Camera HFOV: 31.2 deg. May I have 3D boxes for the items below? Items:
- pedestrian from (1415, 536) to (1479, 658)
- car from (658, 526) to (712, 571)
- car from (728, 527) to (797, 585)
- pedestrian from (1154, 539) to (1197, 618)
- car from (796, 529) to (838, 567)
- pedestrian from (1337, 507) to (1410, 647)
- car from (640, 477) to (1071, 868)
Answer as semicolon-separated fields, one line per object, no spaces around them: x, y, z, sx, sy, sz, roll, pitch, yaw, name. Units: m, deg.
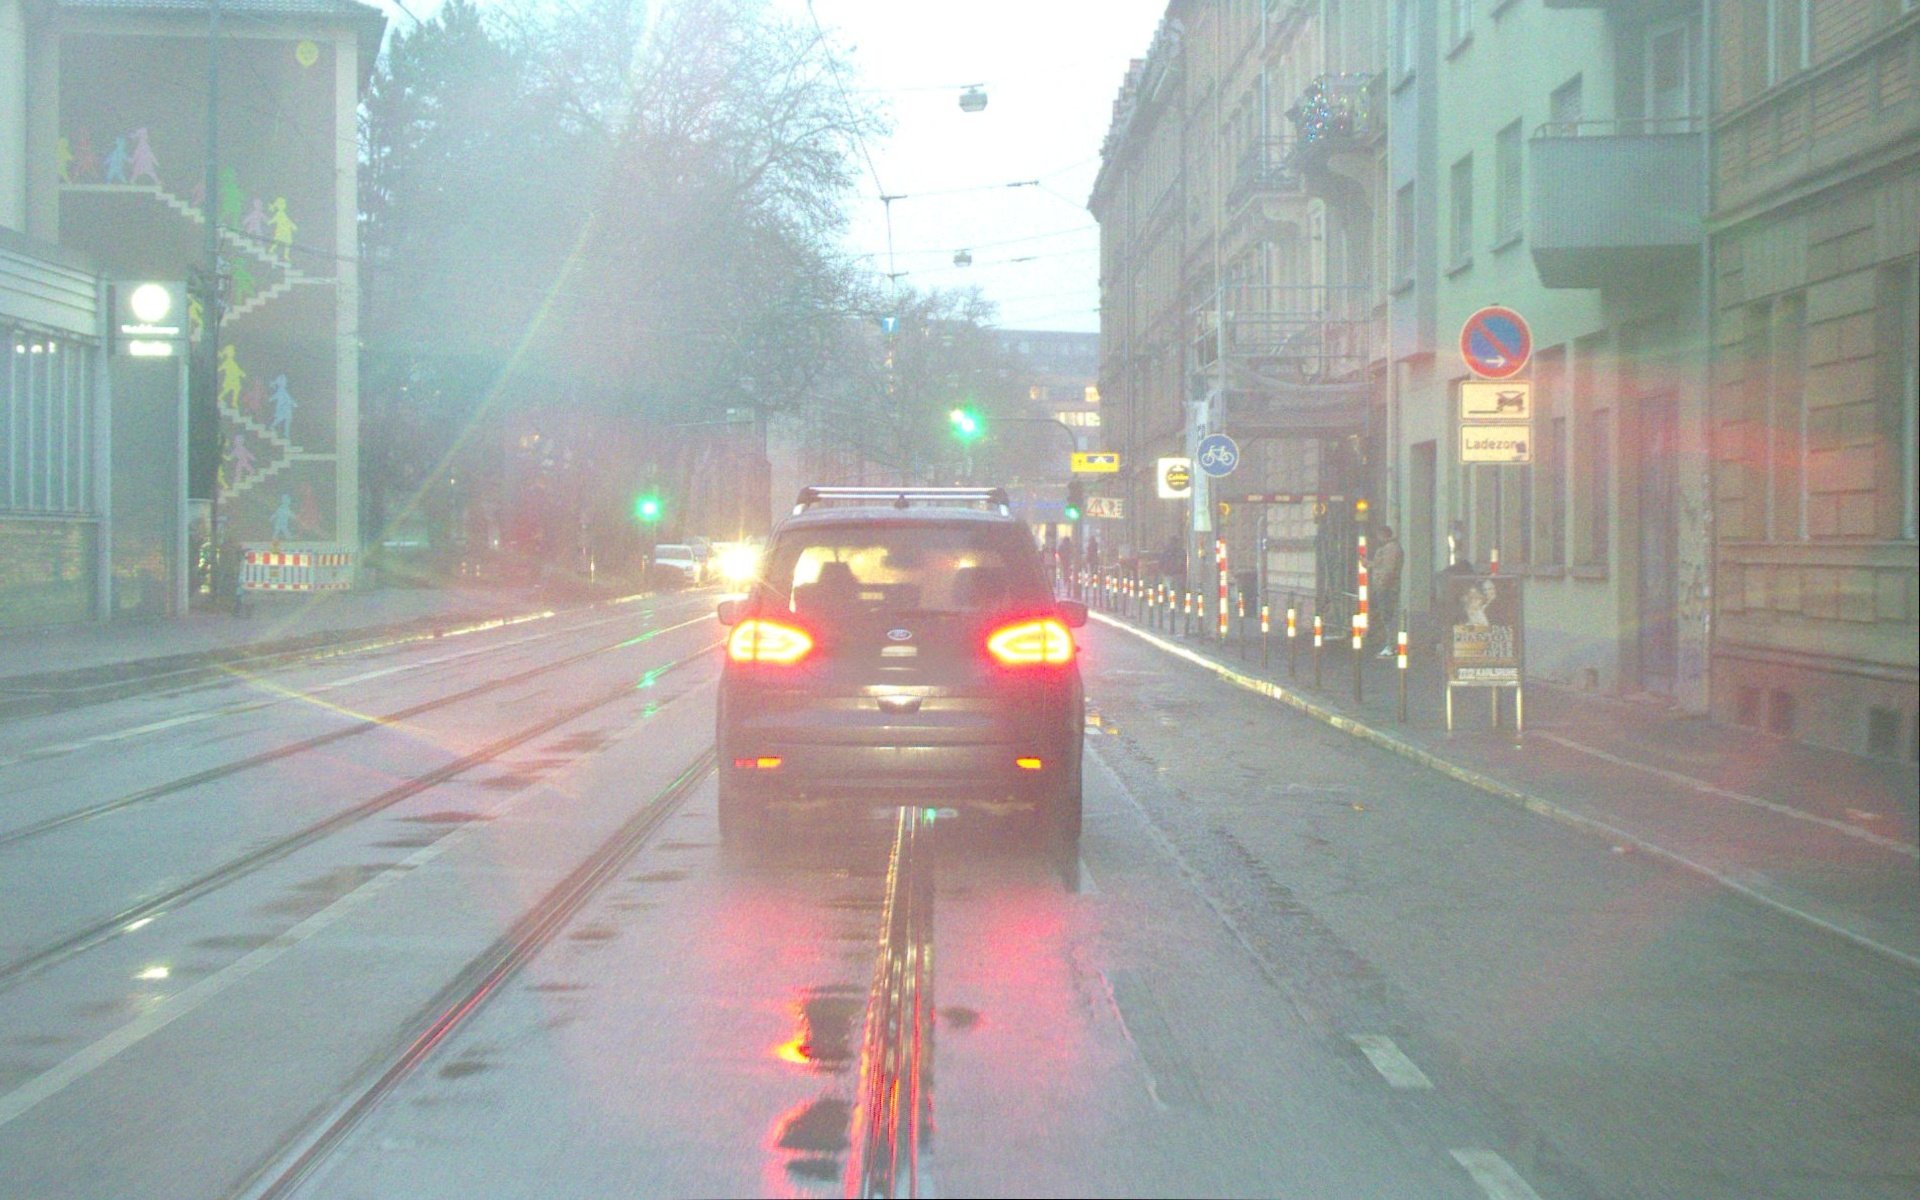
5.547;-0.037;39.197;0.600;1.372;0.728;1;0;-1;pedestrian
-10.267;-1.915;128.418;1.983;1.610;4.430;1;1;-4;car
-6.019;-1.366;105.209;1.875;1.704;4.761;-1;1;-1;car
4.680;-0.474;74.549;0.835;1.695;0.953;1;0;8;pedestrian
-5.639;-2.074;136.077;1.530;1.476;3.561;0;1;0;car
5.386;-0.302;44.803;0.598;1.812;0.776;0;0;-28;pedestrian
-0.432;0.311;18.252;1.994;1.835;4.000;0;1;2;car
